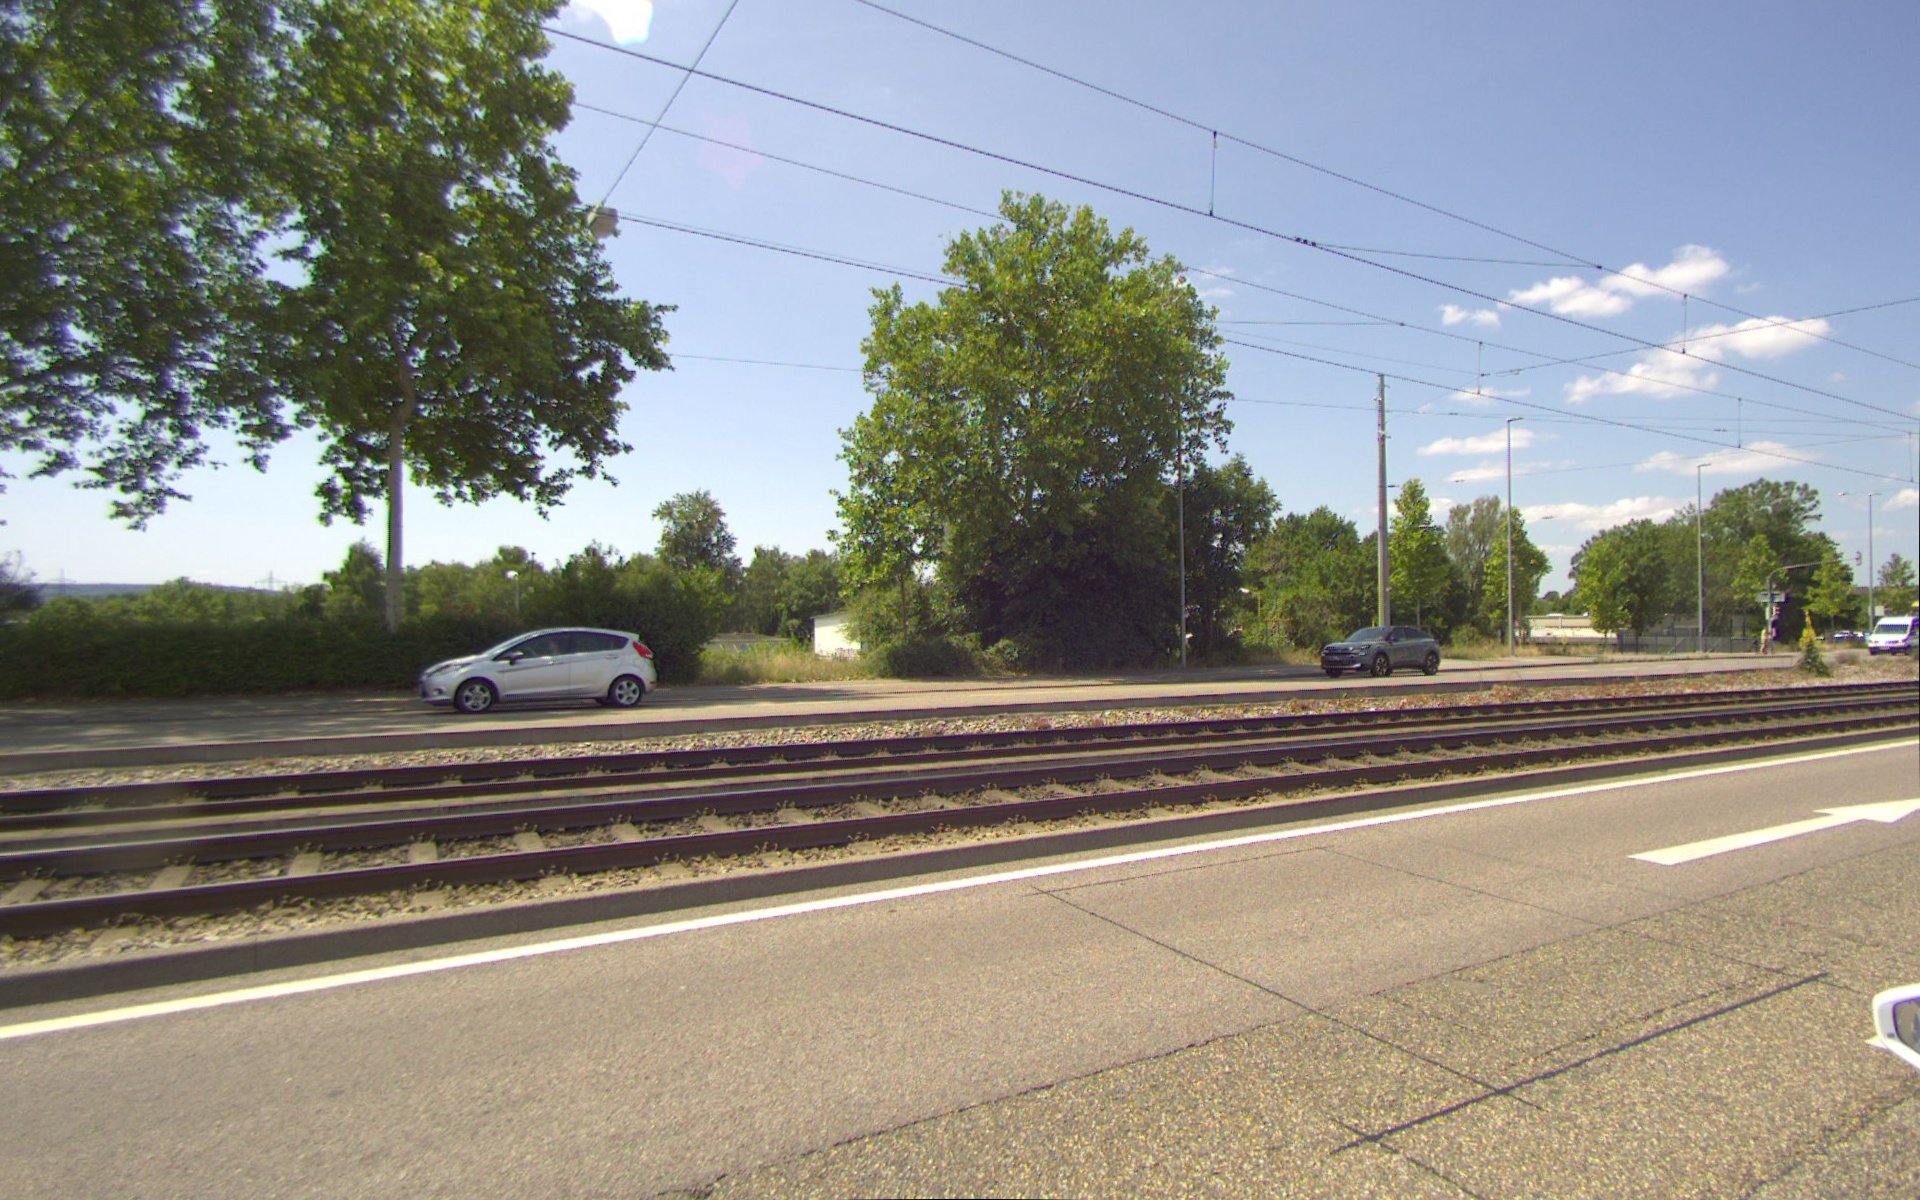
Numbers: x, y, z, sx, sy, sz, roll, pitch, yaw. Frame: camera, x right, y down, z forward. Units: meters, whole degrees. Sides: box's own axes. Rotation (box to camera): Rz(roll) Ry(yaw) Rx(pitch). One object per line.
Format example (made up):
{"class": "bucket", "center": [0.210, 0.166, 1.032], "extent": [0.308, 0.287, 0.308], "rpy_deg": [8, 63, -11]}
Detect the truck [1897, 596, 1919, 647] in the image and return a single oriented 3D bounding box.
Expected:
{"class": "truck", "center": [70.916, 1.548, 72.732], "extent": [6.364, 3.616, 2.754], "rpy_deg": [1, 0, -30]}

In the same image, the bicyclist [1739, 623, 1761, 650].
{"class": "bicyclist", "center": [53.953, 2.502, 68.582], "extent": [0.337, 1.798, 1.112], "rpy_deg": [1, 0, -34]}

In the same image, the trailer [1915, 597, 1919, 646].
{"class": "trailer", "center": [77.900, 1.712, 76.877], "extent": [15.692, 3.565, 2.753], "rpy_deg": [1, 0, -31]}

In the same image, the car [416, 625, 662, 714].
{"class": "car", "center": [-7.529, 1.206, 18.056], "extent": [3.841, 1.434, 1.813], "rpy_deg": [1, -3, -33]}

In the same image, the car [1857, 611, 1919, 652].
{"class": "car", "center": [63.546, 2.131, 68.141], "extent": [6.164, 2.623, 2.232], "rpy_deg": [0, -3, -32]}

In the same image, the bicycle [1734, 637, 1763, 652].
{"class": "bicycle", "center": [53.900, 3.040, 68.648], "extent": [0.480, 1.000, 1.482], "rpy_deg": [1, 0, -33]}

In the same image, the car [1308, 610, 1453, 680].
{"class": "car", "center": [12.809, 1.303, 30.520], "extent": [4.364, 1.944, 1.981], "rpy_deg": [1, 1, -34]}
